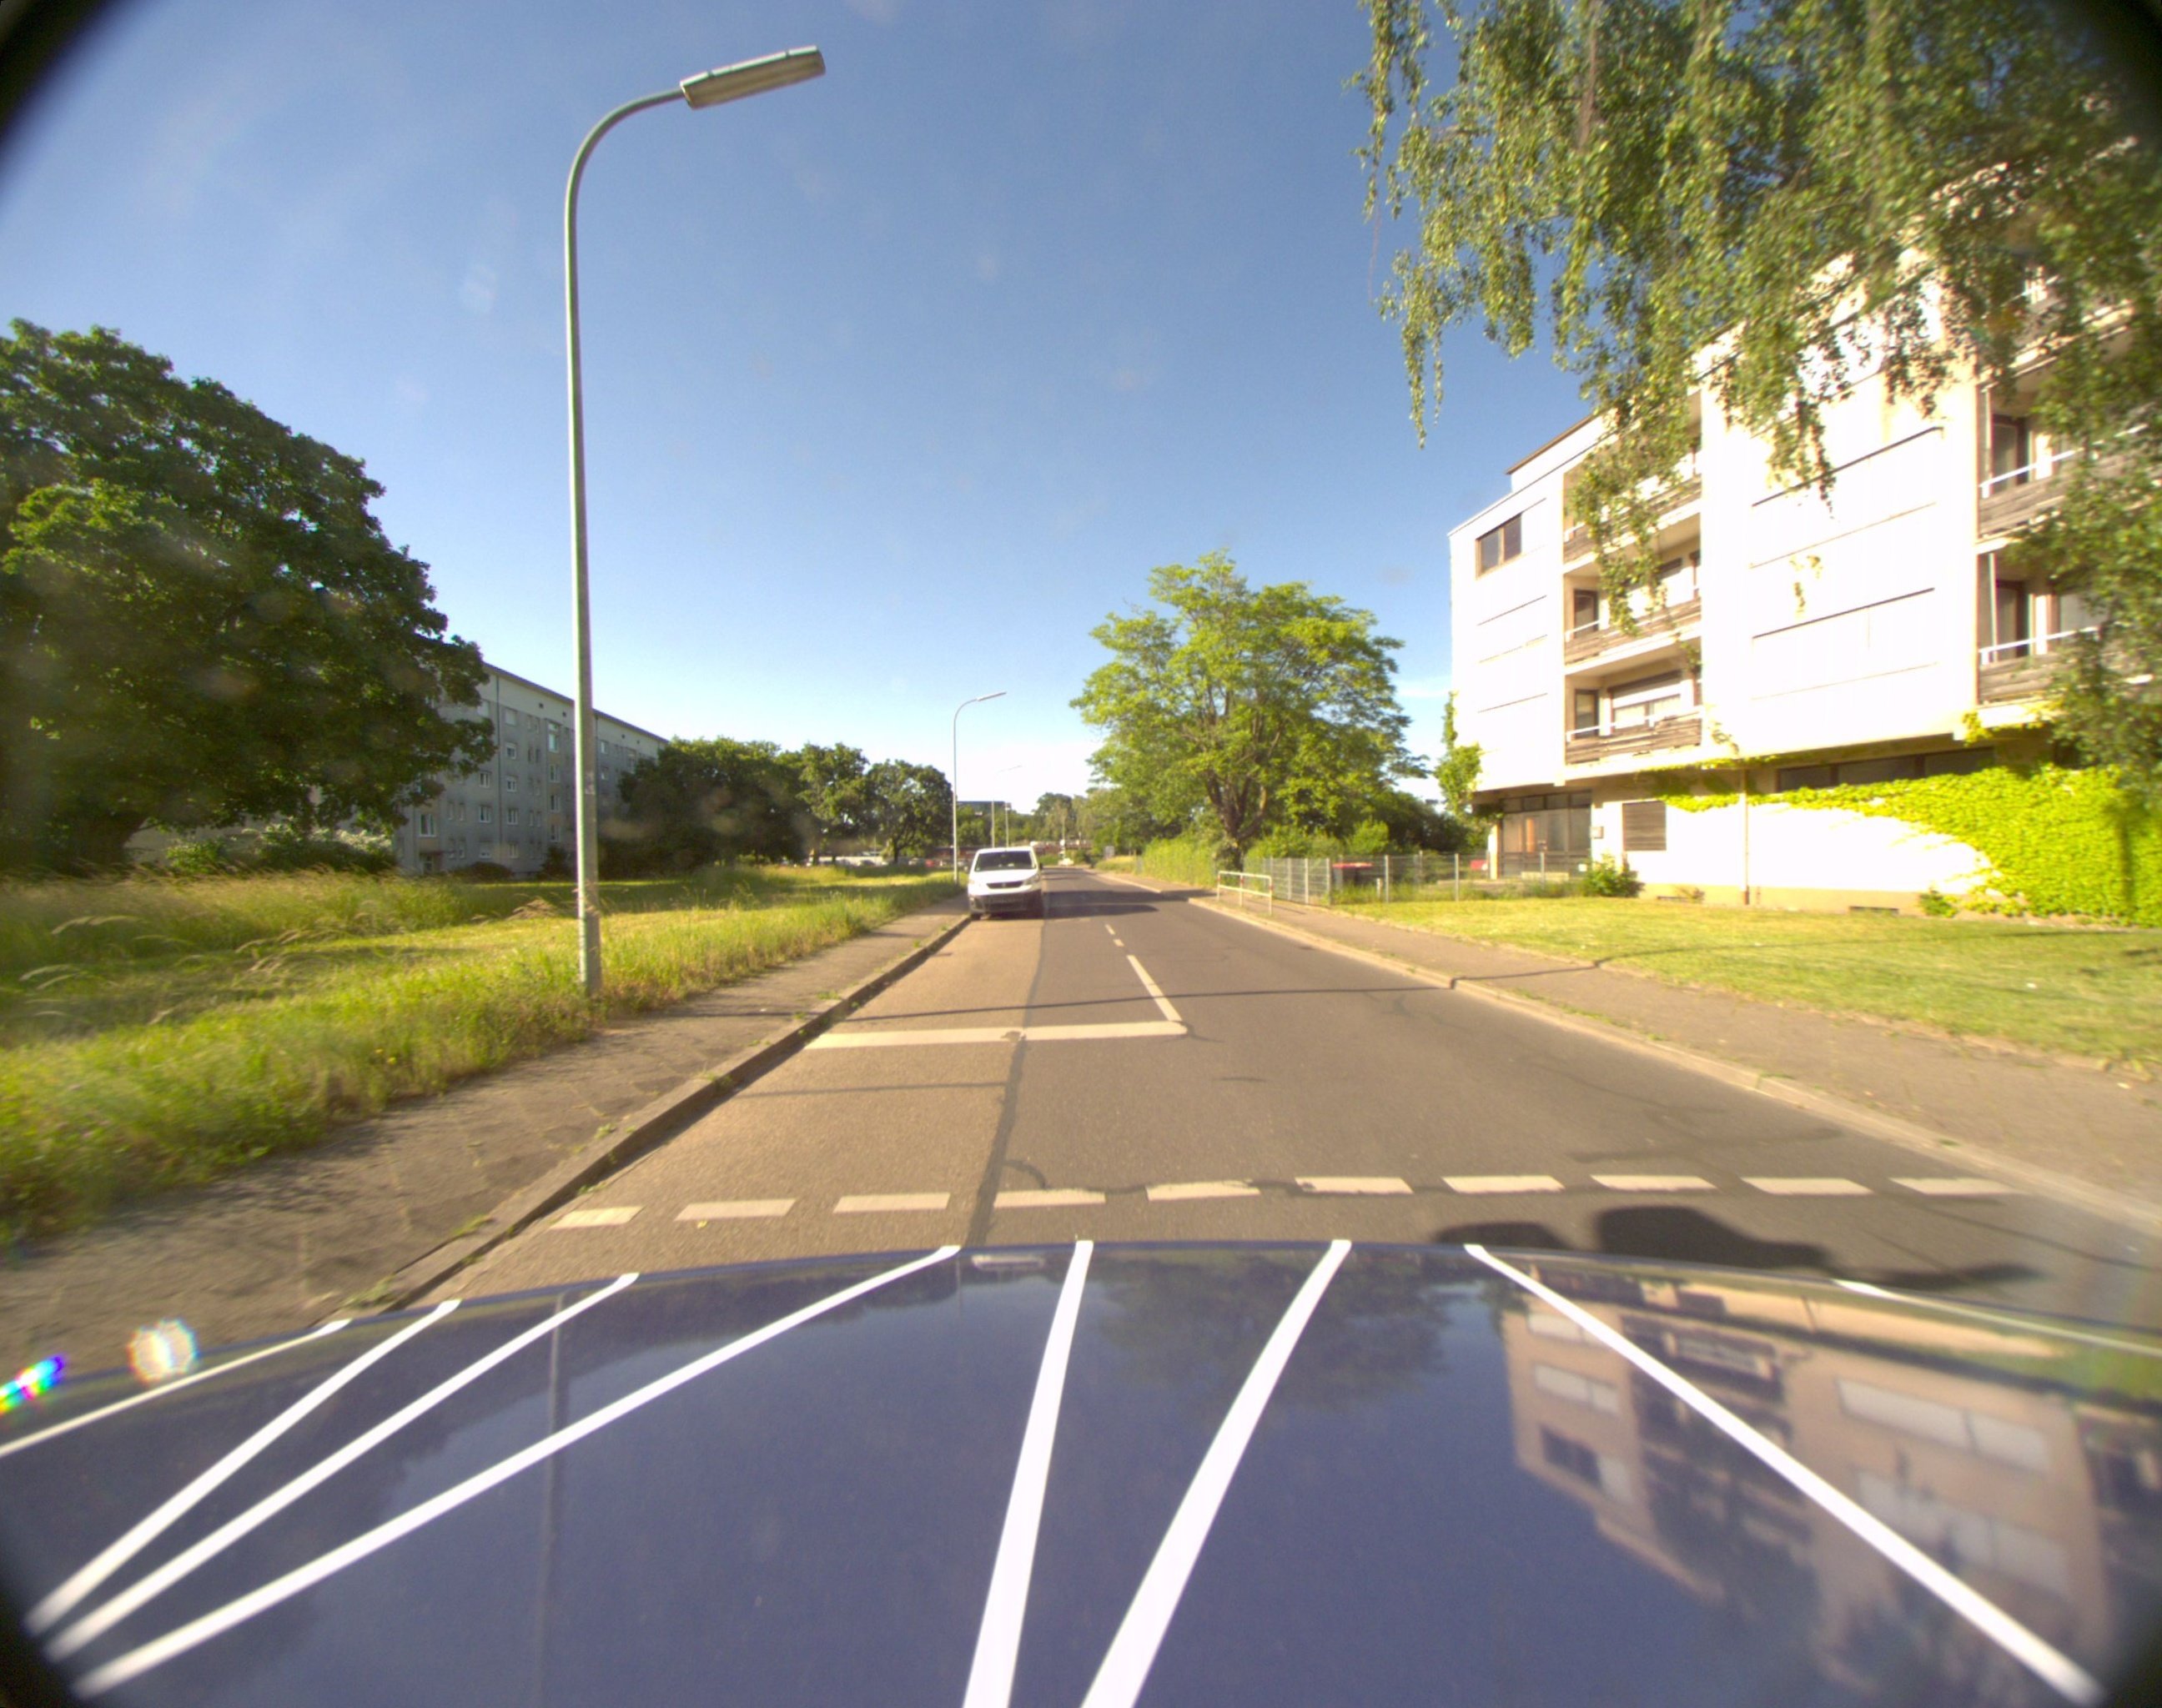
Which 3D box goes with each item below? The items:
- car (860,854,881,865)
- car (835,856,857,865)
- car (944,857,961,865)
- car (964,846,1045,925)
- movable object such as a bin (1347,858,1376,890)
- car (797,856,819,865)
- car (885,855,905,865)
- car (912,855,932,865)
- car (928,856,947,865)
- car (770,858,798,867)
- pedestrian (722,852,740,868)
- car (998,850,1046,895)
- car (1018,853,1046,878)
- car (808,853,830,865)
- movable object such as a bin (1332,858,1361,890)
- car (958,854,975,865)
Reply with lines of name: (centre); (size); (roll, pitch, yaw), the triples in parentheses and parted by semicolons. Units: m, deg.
car: (-36.497, 1.010, 131.797); (1.954, 1.763, 4.002); (0, 2, 11)
car: (-40.958, 1.094, 132.674); (1.954, 1.552, 4.003); (0, 0, 11)
car: (-21.678, 1.155, 128.259); (1.779, 1.316, 4.002); (0, 0, 7)
car: (-1.990, 0.763, 21.099); (1.921, 1.861, 4.864); (-2, 0, -3)
movable object such as a bin: (8.895, 0.625, 24.100); (0.623, 1.018, 0.710); (0, 1, -7)
car: (-48.269, 1.082, 134.505); (1.954, 1.552, 4.003); (0, 0, 11)
car: (-31.912, 1.027, 130.452); (1.954, 1.763, 4.003); (0, 0, 11)
car: (-26.987, 1.006, 128.808); (1.858, 1.763, 4.003); (0, 0, 11)
car: (-24.410, 1.118, 129.216); (1.862, 1.461, 4.003); (0, 0, 11)
car: (-48.228, 1.310, 123.424); (3.633, 1.442, 2.002); (0, 0, 14)
pedestrian: (-45.564, 0.751, 98.868); (1.490, 2.019, 1.698); (0, 0, 0)
car: (-2.400, 0.740, 31.878); (1.702, 1.720, 4.083); (-2, 0, -1)
car: (-3.522, 0.750, 53.811); (1.844, 1.642, 4.466); (-2, 0, -5)
car: (-46.056, 0.882, 133.735); (1.997, 2.002, 4.002); (0, 0, 8)
movable object such as a bin: (8.382, 0.624, 24.022); (0.623, 1.018, 0.710); (0, 1, -7)
car: (-19.302, 0.925, 128.040); (1.955, 1.849, 4.001); (0, 0, 5)
